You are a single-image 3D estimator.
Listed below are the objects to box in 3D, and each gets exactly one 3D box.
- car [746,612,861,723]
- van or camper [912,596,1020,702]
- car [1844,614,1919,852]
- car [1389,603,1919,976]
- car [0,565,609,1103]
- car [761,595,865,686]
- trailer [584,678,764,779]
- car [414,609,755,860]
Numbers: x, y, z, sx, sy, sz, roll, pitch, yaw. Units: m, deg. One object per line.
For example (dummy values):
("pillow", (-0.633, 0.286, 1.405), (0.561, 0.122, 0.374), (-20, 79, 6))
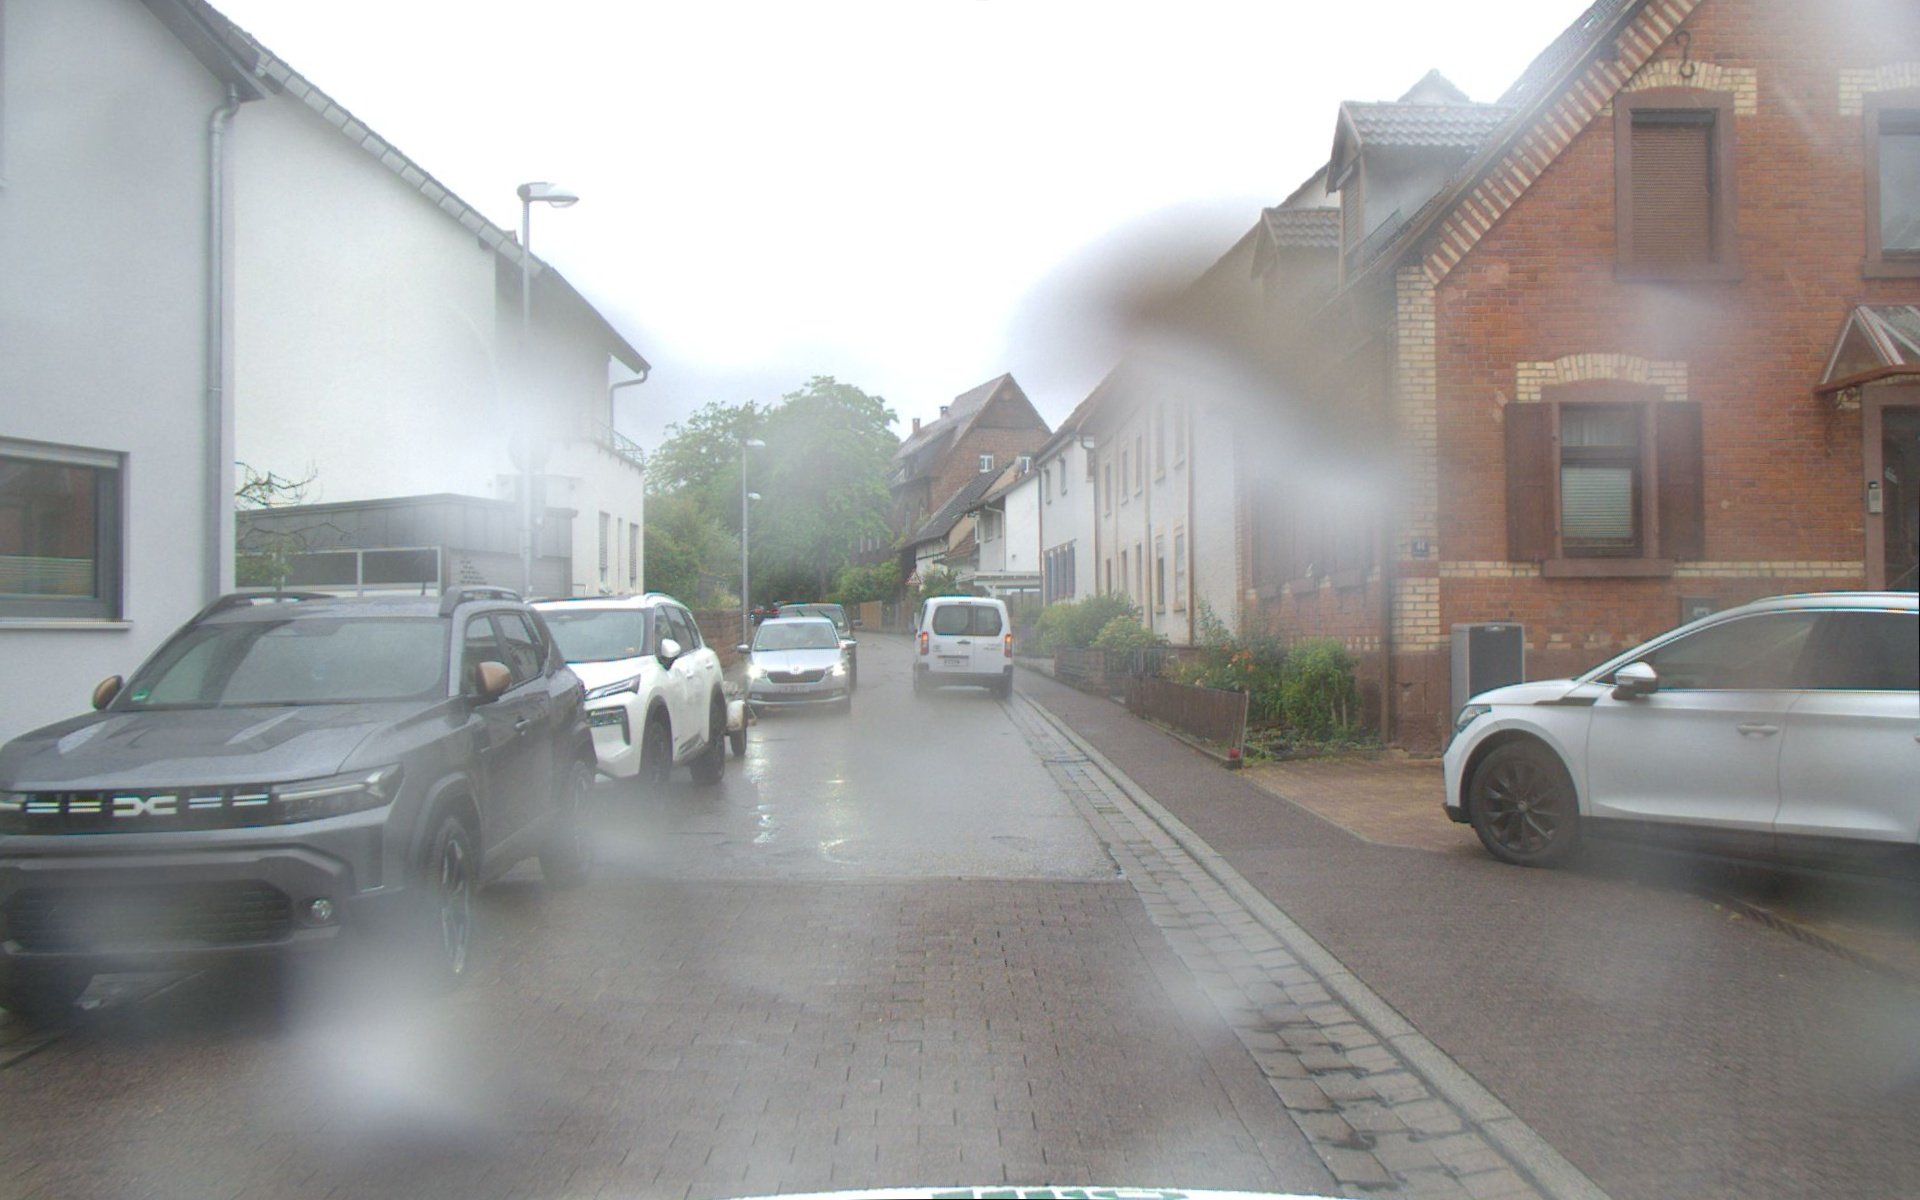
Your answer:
("car", (-2.499, 1.028, 26.459), (1.656, 1.592, 3.929), (-2, -1, -6))
("van or camper", (0.082, 0.873, 31.348), (1.904, 1.883, 3.999), (0, 0, -1))
("car", (7.831, 0.878, 9.864), (1.848, 1.543, 4.256), (-1, 1, -26))
("car", (4.689, 0.895, 8.917), (1.853, 1.617, 4.568), (0, 2, -33))
("car", (-2.848, 0.791, 7.731), (1.776, 1.810, 4.014), (-2, 0, -4))
("car", (-3.025, 0.777, 34.567), (1.954, 1.707, 4.779), (-2, 0, -4))
("trailer", (-2.966, 1.321, 17.565), (1.453, 0.843, 2.675), (-3, -1, -1))
("car", (-2.918, 0.982, 13.853), (1.713, 1.665, 4.418), (-3, -1, 1))
